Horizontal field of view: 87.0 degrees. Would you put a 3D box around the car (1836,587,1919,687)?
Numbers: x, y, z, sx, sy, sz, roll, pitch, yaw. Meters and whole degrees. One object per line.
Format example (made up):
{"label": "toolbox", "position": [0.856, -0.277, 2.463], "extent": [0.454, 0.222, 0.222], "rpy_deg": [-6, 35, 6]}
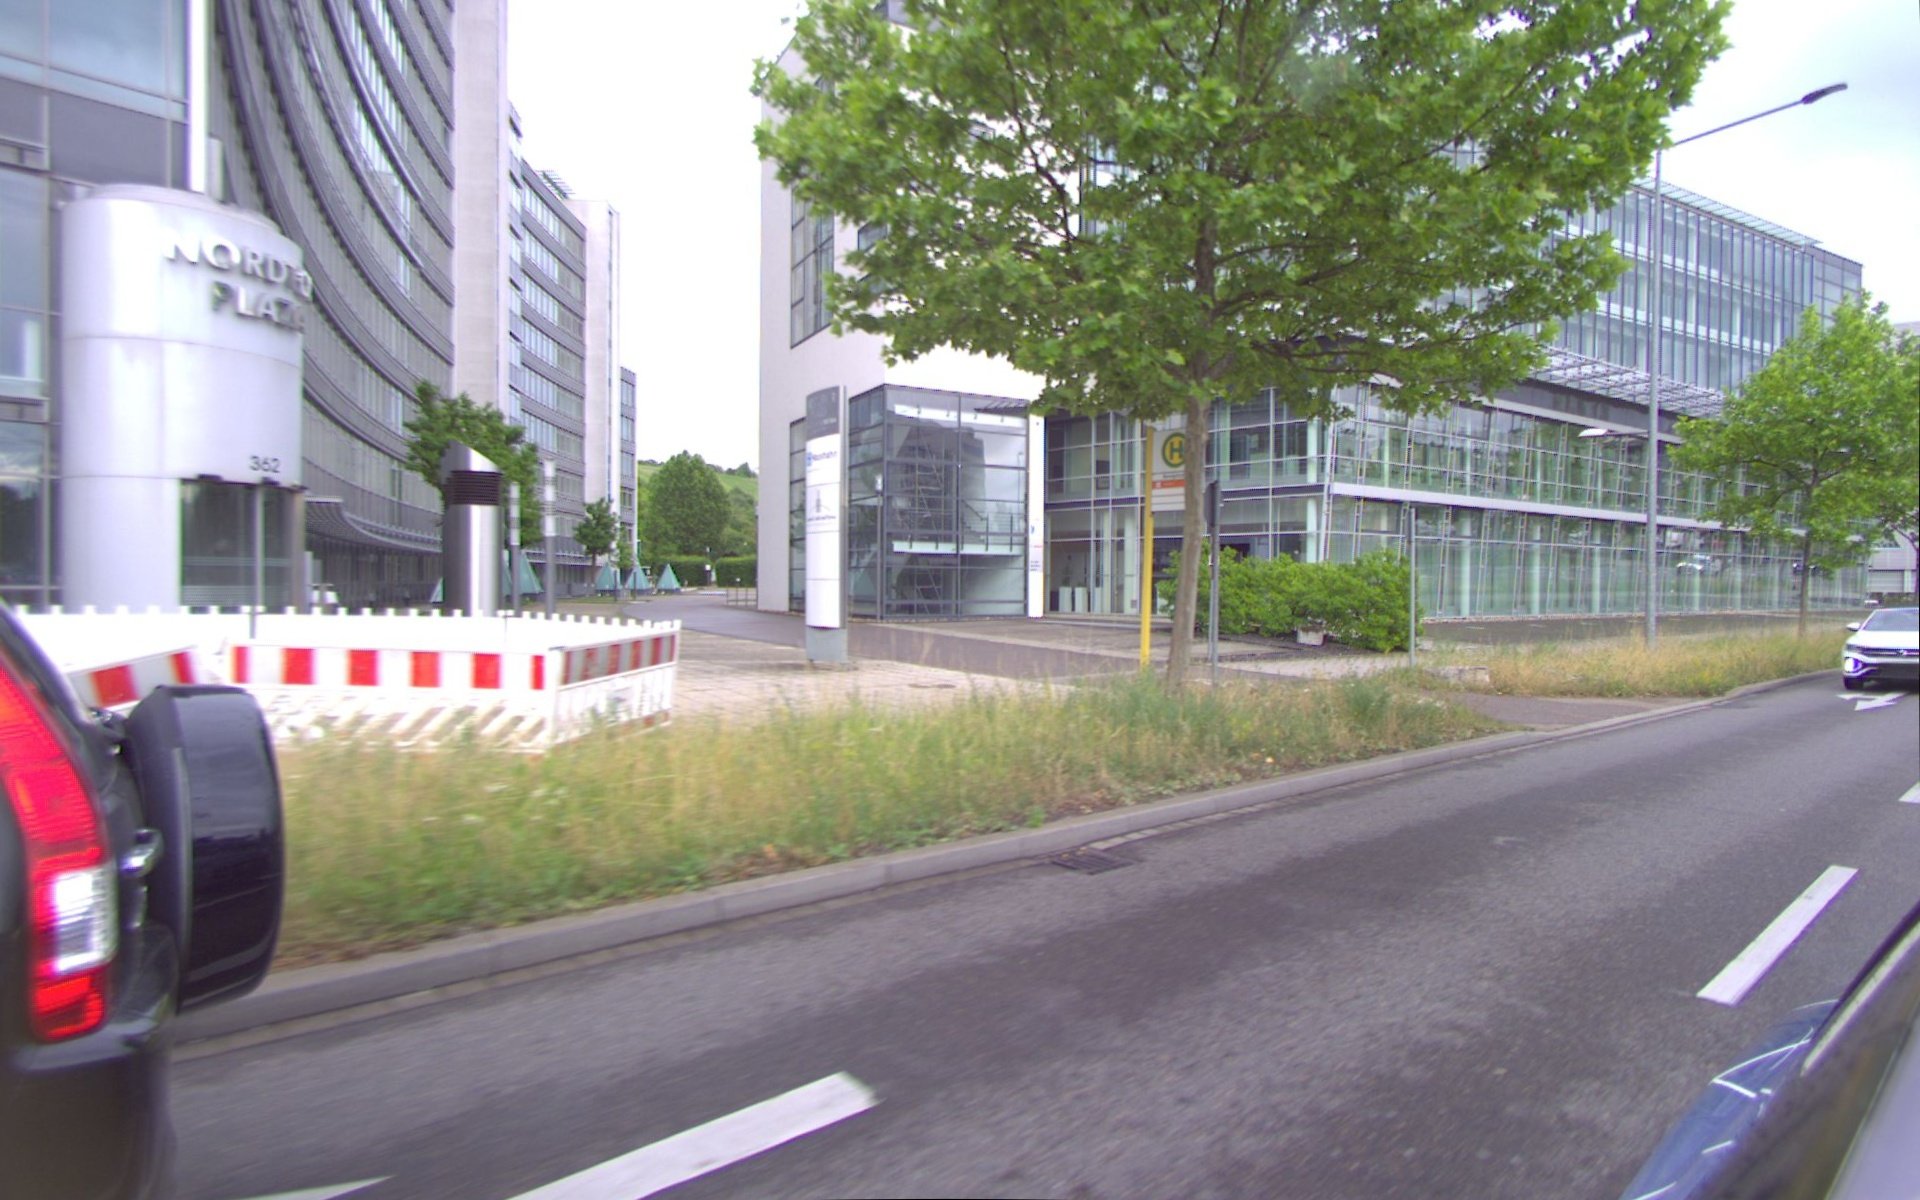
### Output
{"label": "car", "position": [17.713, 0.607, 18.475], "extent": [3.754, 1.700, 1.997], "rpy_deg": [-1, -1, -40]}

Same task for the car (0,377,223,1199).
{"label": "car", "position": [-3.135, 0.599, 0.568], "extent": [4.251, 1.651, 1.767], "rpy_deg": [-1, -1, -43]}
